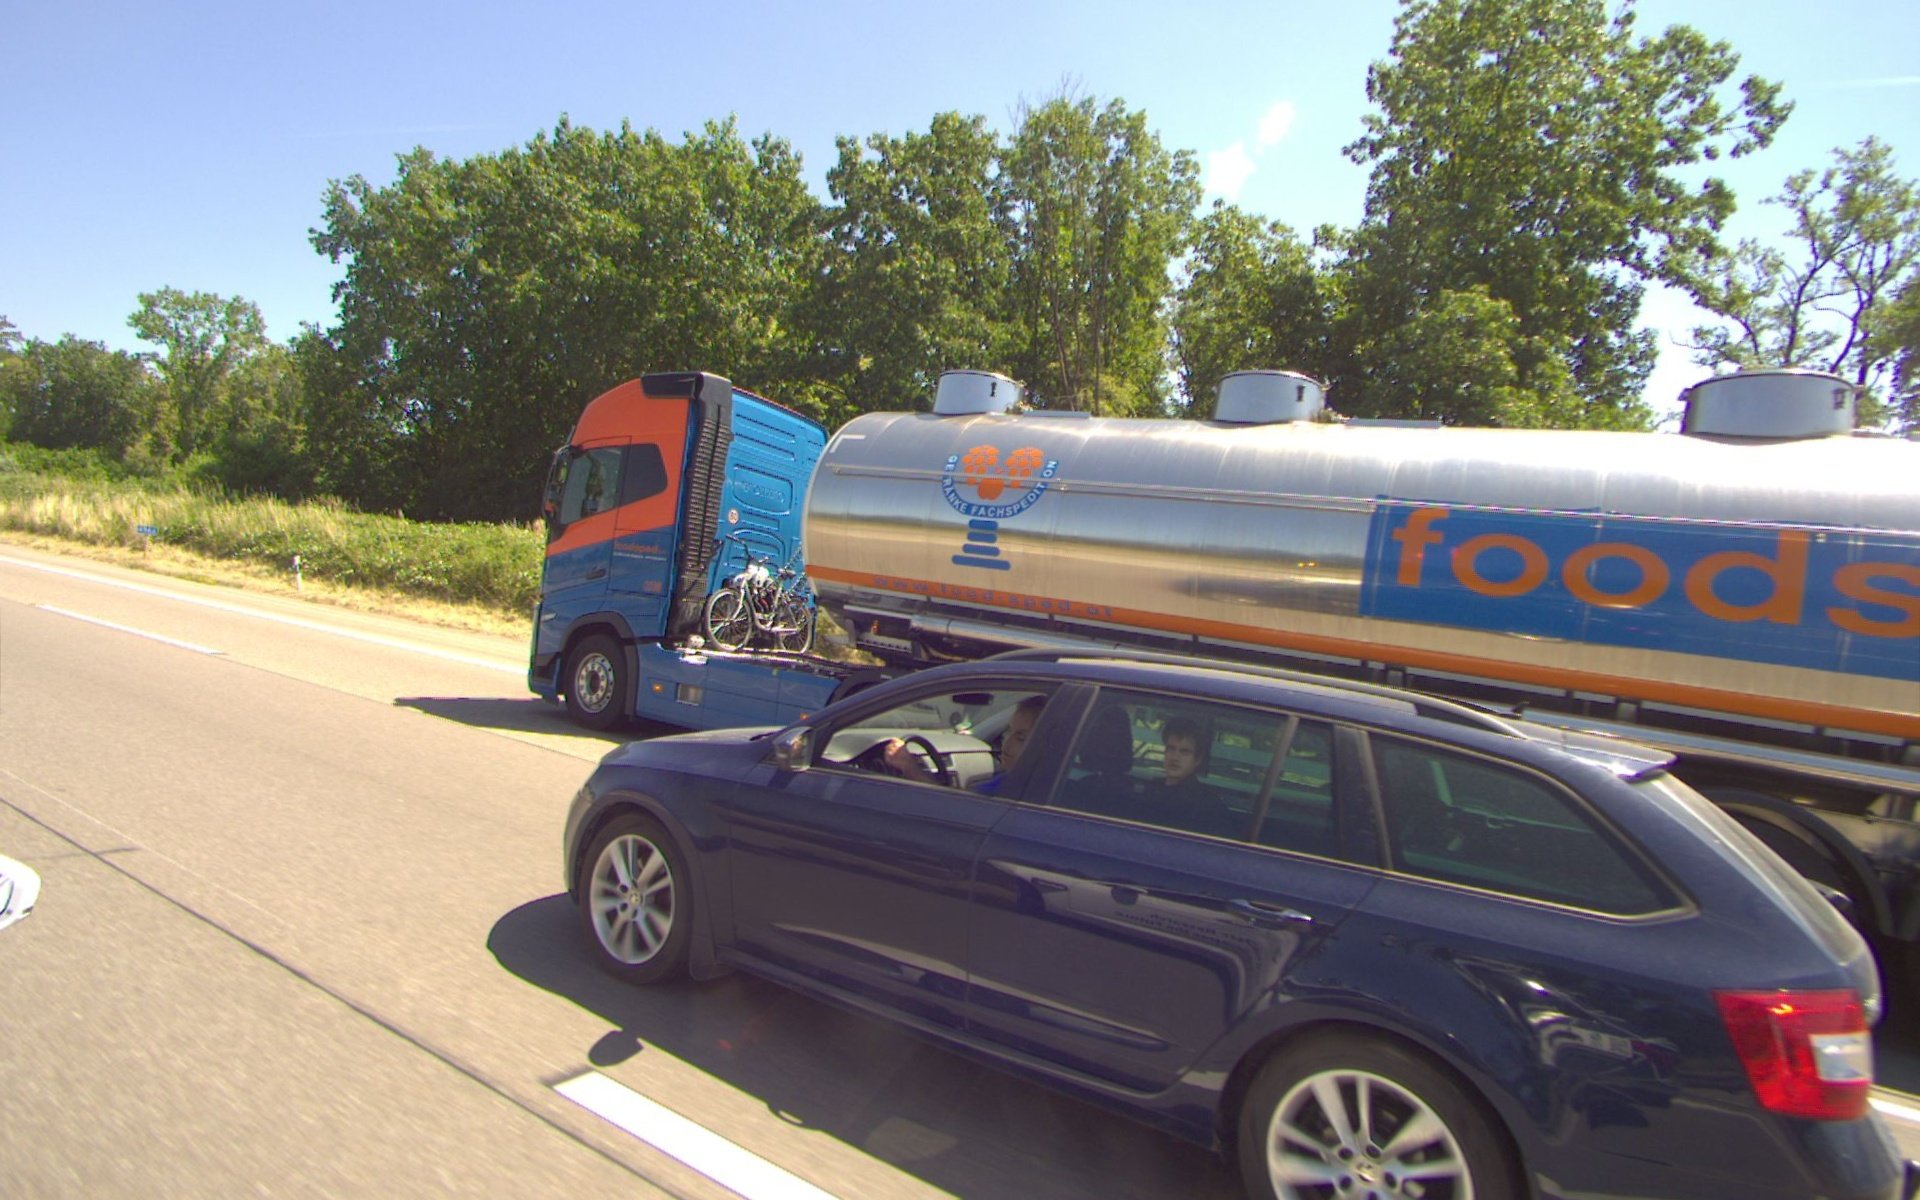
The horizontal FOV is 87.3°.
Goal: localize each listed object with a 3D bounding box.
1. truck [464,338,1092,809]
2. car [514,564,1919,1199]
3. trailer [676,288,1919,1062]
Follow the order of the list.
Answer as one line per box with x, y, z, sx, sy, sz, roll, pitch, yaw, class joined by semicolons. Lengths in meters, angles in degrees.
-2.075;-0.371;10.665;5.997;3.777;2.534;6;-2;32;truck
0.554;0.895;3.700;4.200;1.500;1.805;6;-2;31;car
3.045;0.199;7.443;11.357;3.777;2.534;6;-2;32;trailer
